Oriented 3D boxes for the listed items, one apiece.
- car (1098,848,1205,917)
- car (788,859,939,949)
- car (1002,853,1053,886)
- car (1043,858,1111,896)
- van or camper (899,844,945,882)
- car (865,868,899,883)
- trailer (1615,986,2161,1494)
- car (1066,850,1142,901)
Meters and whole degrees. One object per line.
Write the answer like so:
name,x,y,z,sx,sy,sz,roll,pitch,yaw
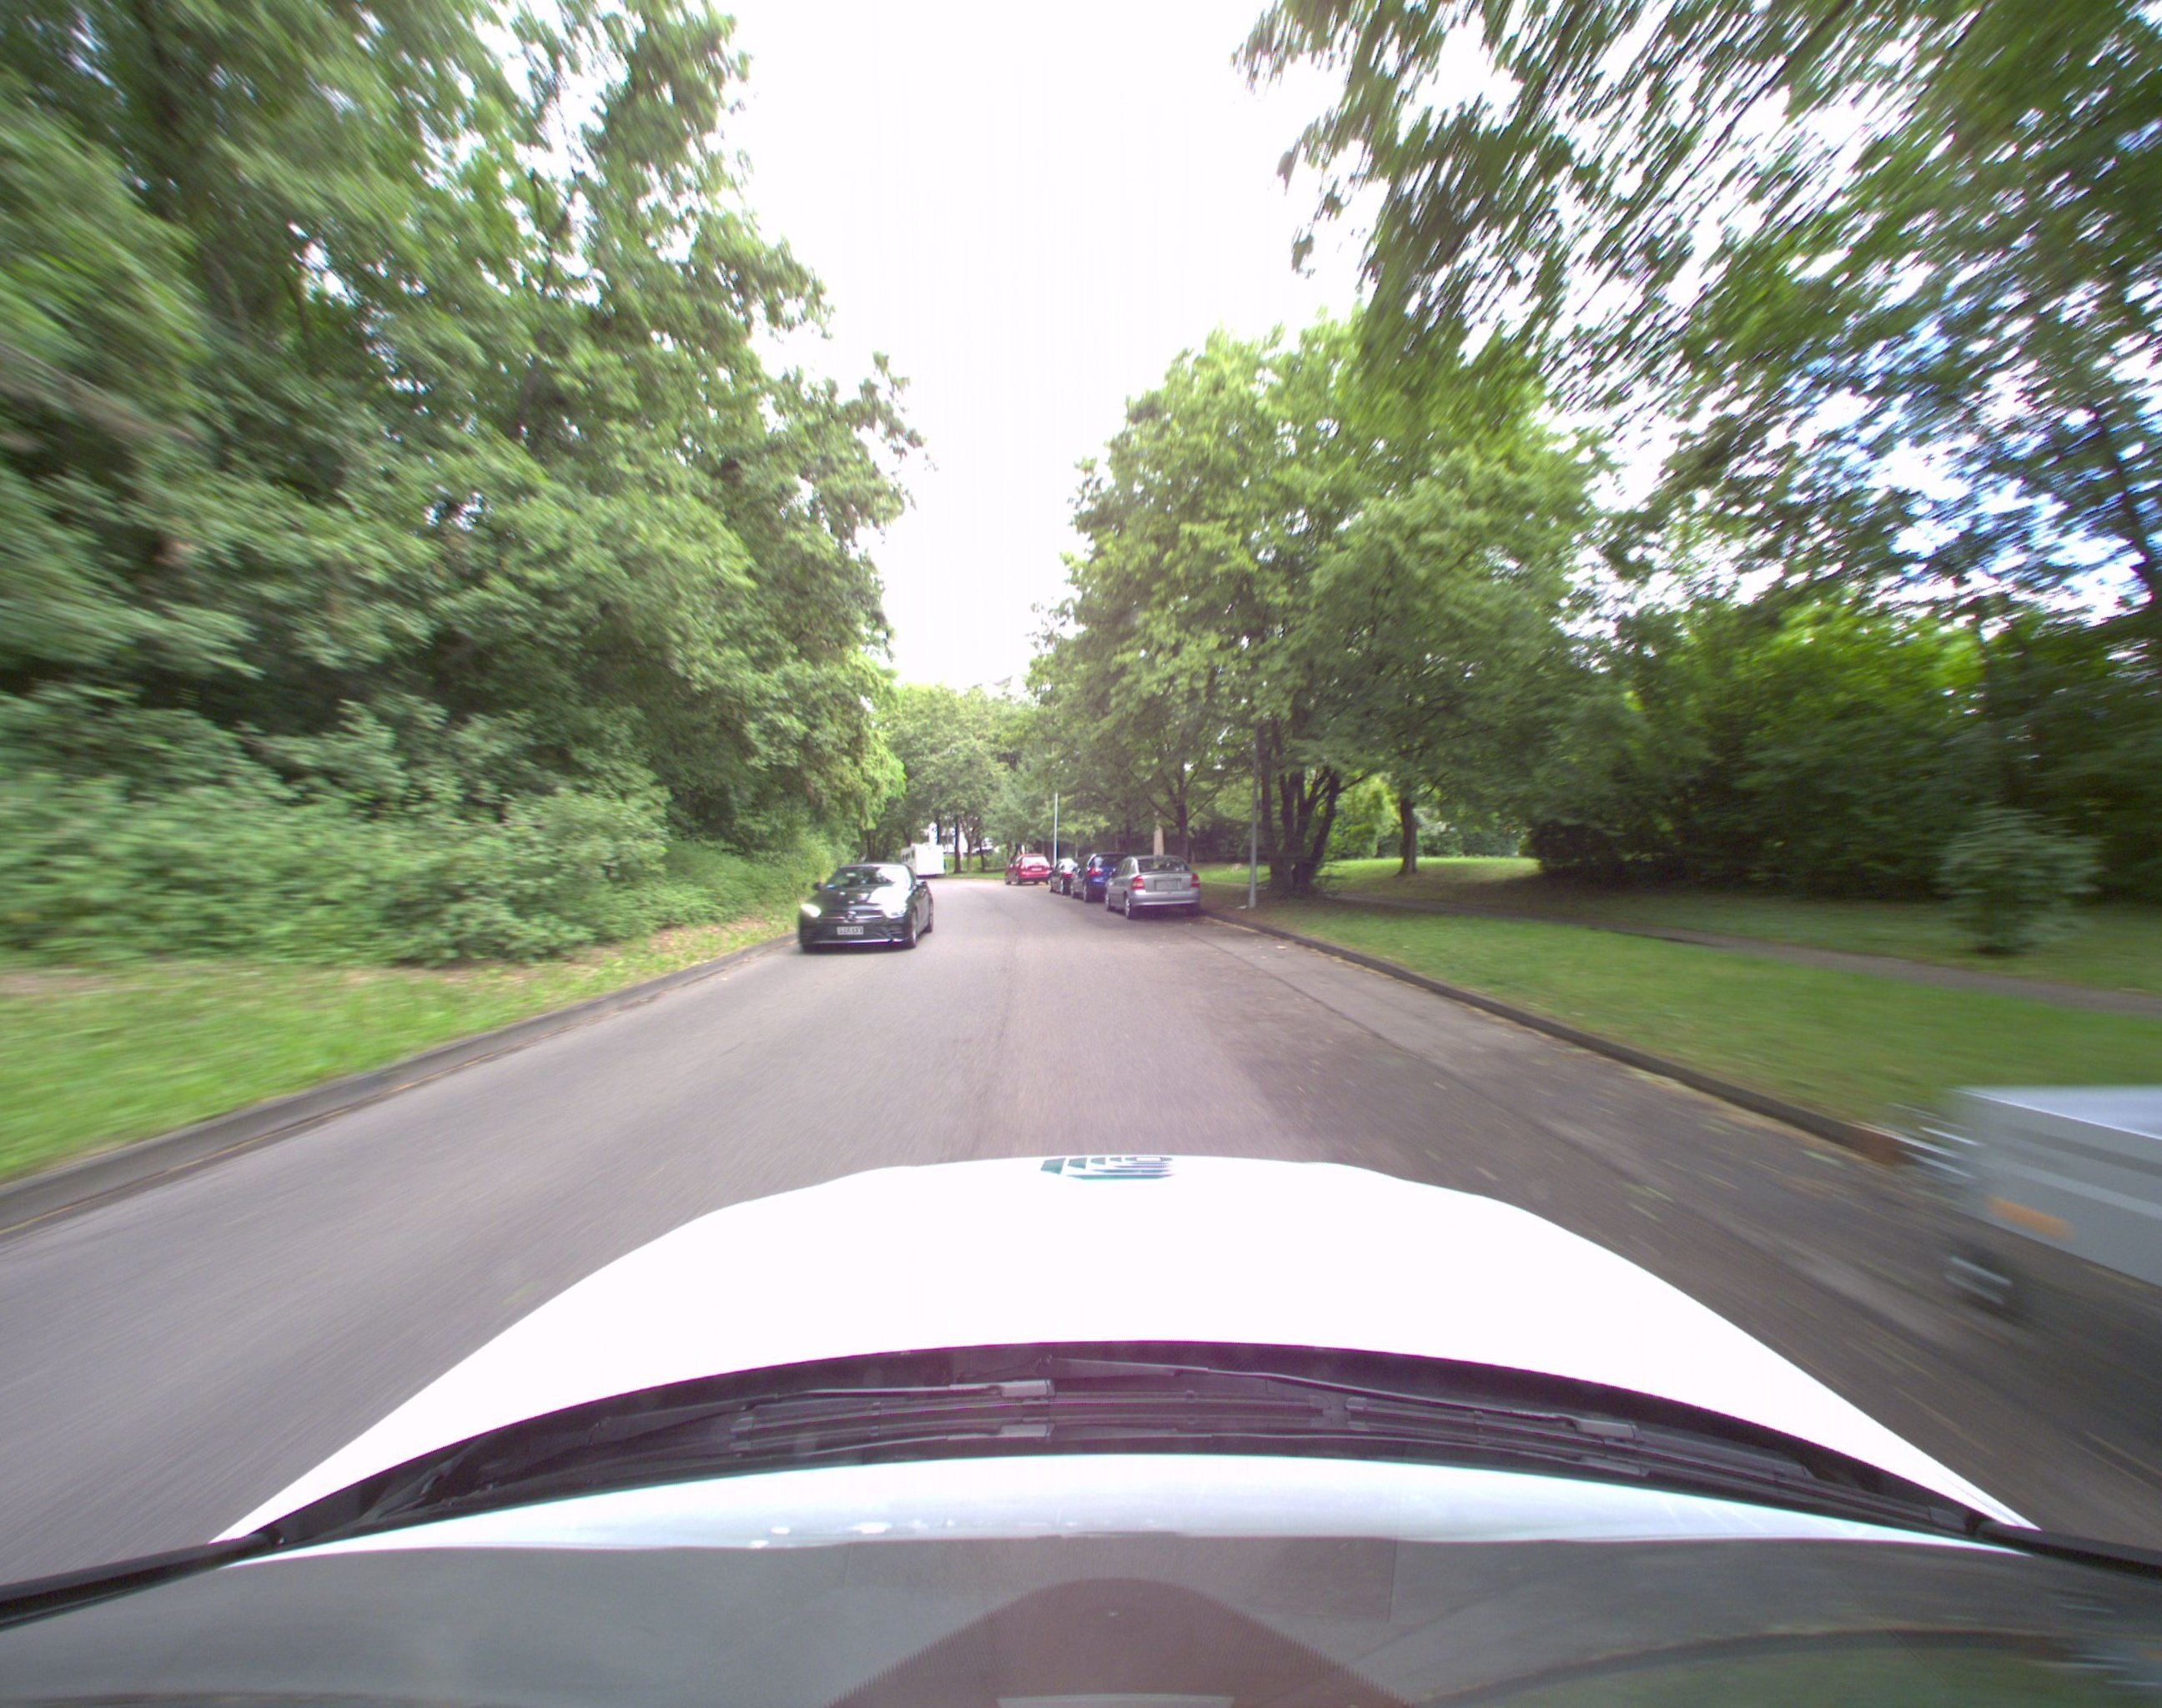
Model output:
car,1.590,0.651,19.774,1.717,1.431,3.937,-2,-1,-8
car,-3.747,0.819,14.833,1.787,1.389,4.485,1,-1,-4
car,-2.805,0.793,41.782,1.742,1.562,3.977,-1,-1,-17
car,-0.242,0.851,31.192,1.752,1.337,4.396,-1,-1,-12
van or camper,-13.660,0.763,69.663,2.442,3.007,5.163,-2,0,-27
car,-19.835,2.161,81.229,2.008,1.473,3.957,1,-1,-35
trailer,3.057,0.991,2.007,1.359,0.848,3.278,1,-1,0
car,0.651,0.693,26.524,1.714,1.510,4.167,1,-1,-9
